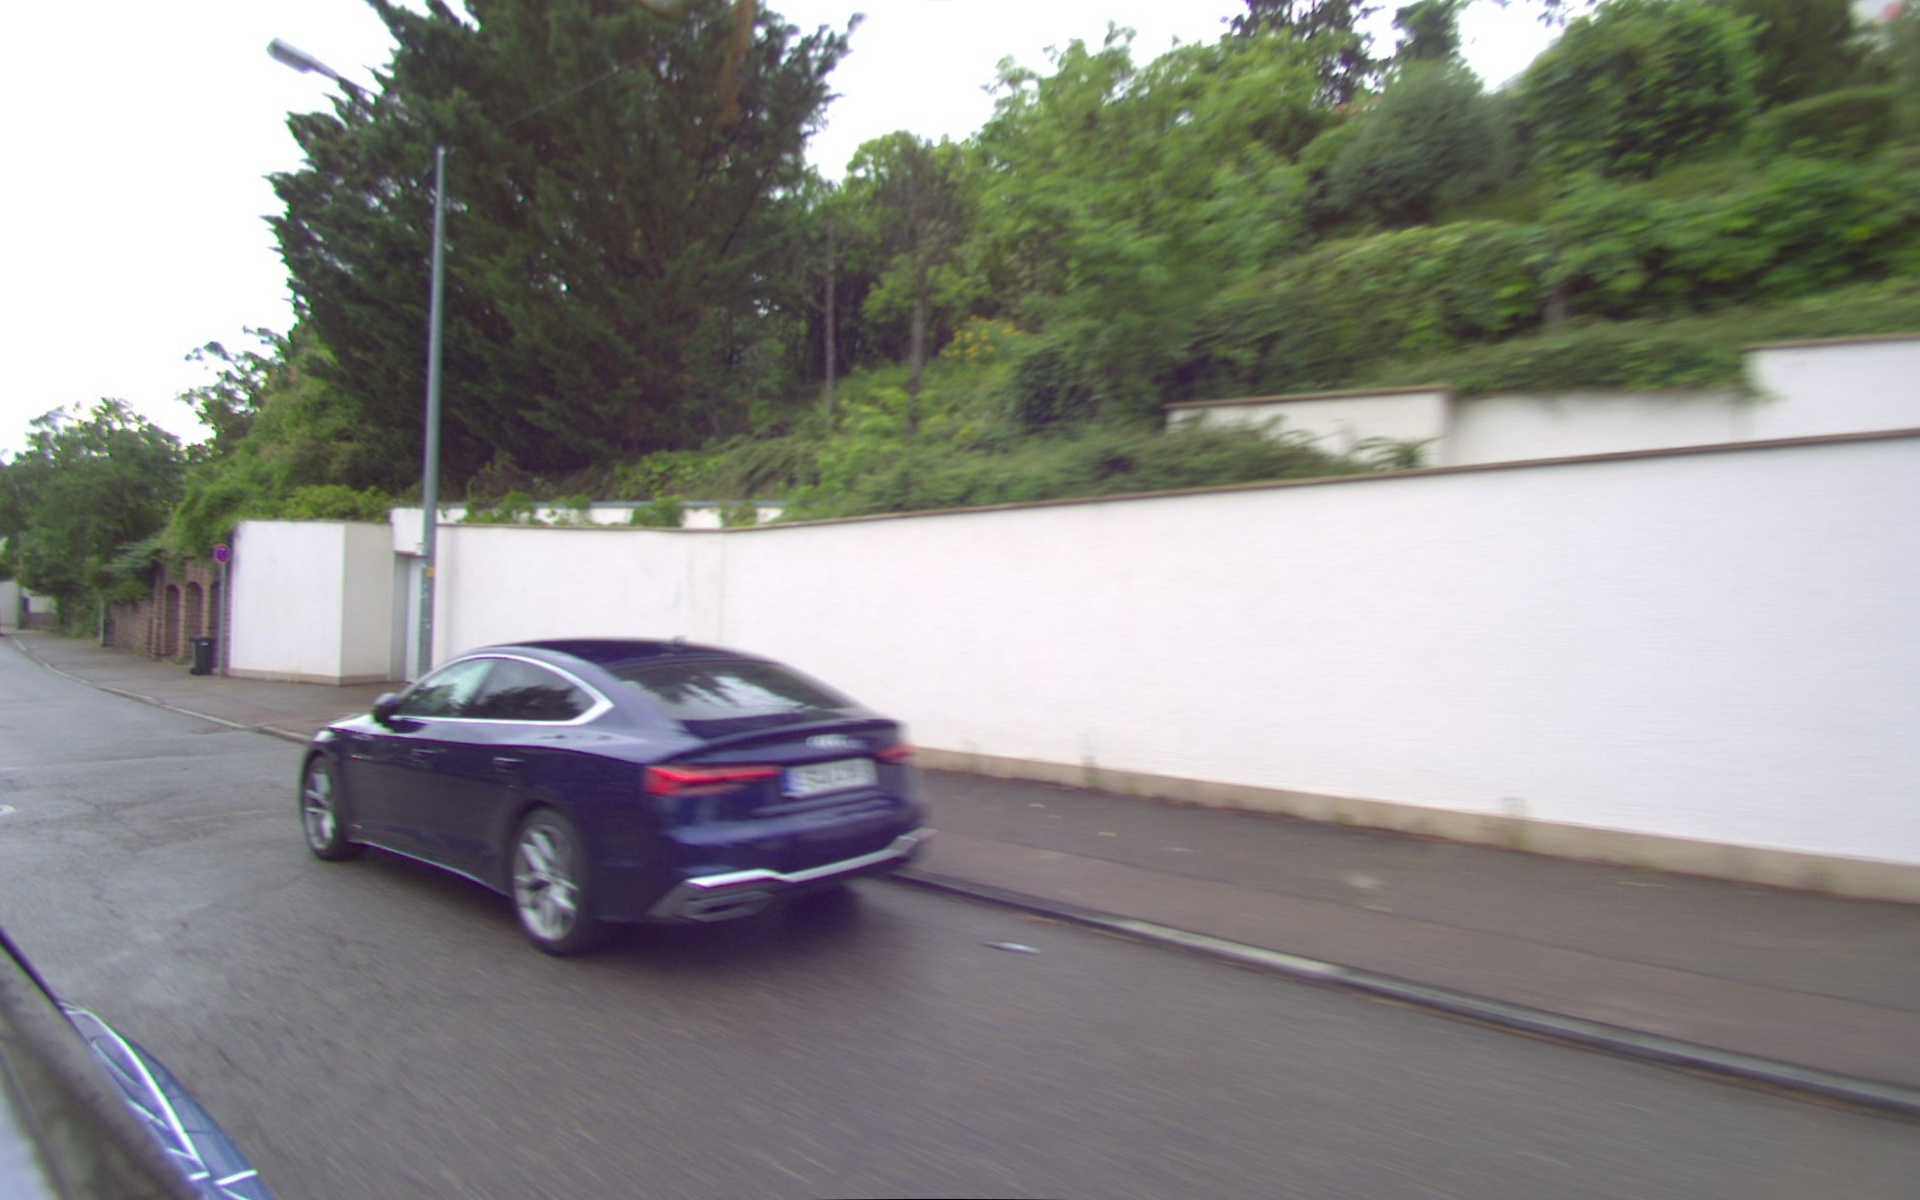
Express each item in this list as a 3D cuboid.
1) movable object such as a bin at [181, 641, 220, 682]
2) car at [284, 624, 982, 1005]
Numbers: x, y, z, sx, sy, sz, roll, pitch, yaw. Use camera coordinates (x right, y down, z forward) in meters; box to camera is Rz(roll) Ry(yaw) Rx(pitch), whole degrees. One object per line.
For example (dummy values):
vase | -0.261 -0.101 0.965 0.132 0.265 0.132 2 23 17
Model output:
movable object such as a bin | -18.433 1.481 24.563 0.677 0.926 0.651 -1 1 44
car | -2.125 0.827 5.779 4.421 1.368 1.731 -1 -2 40
